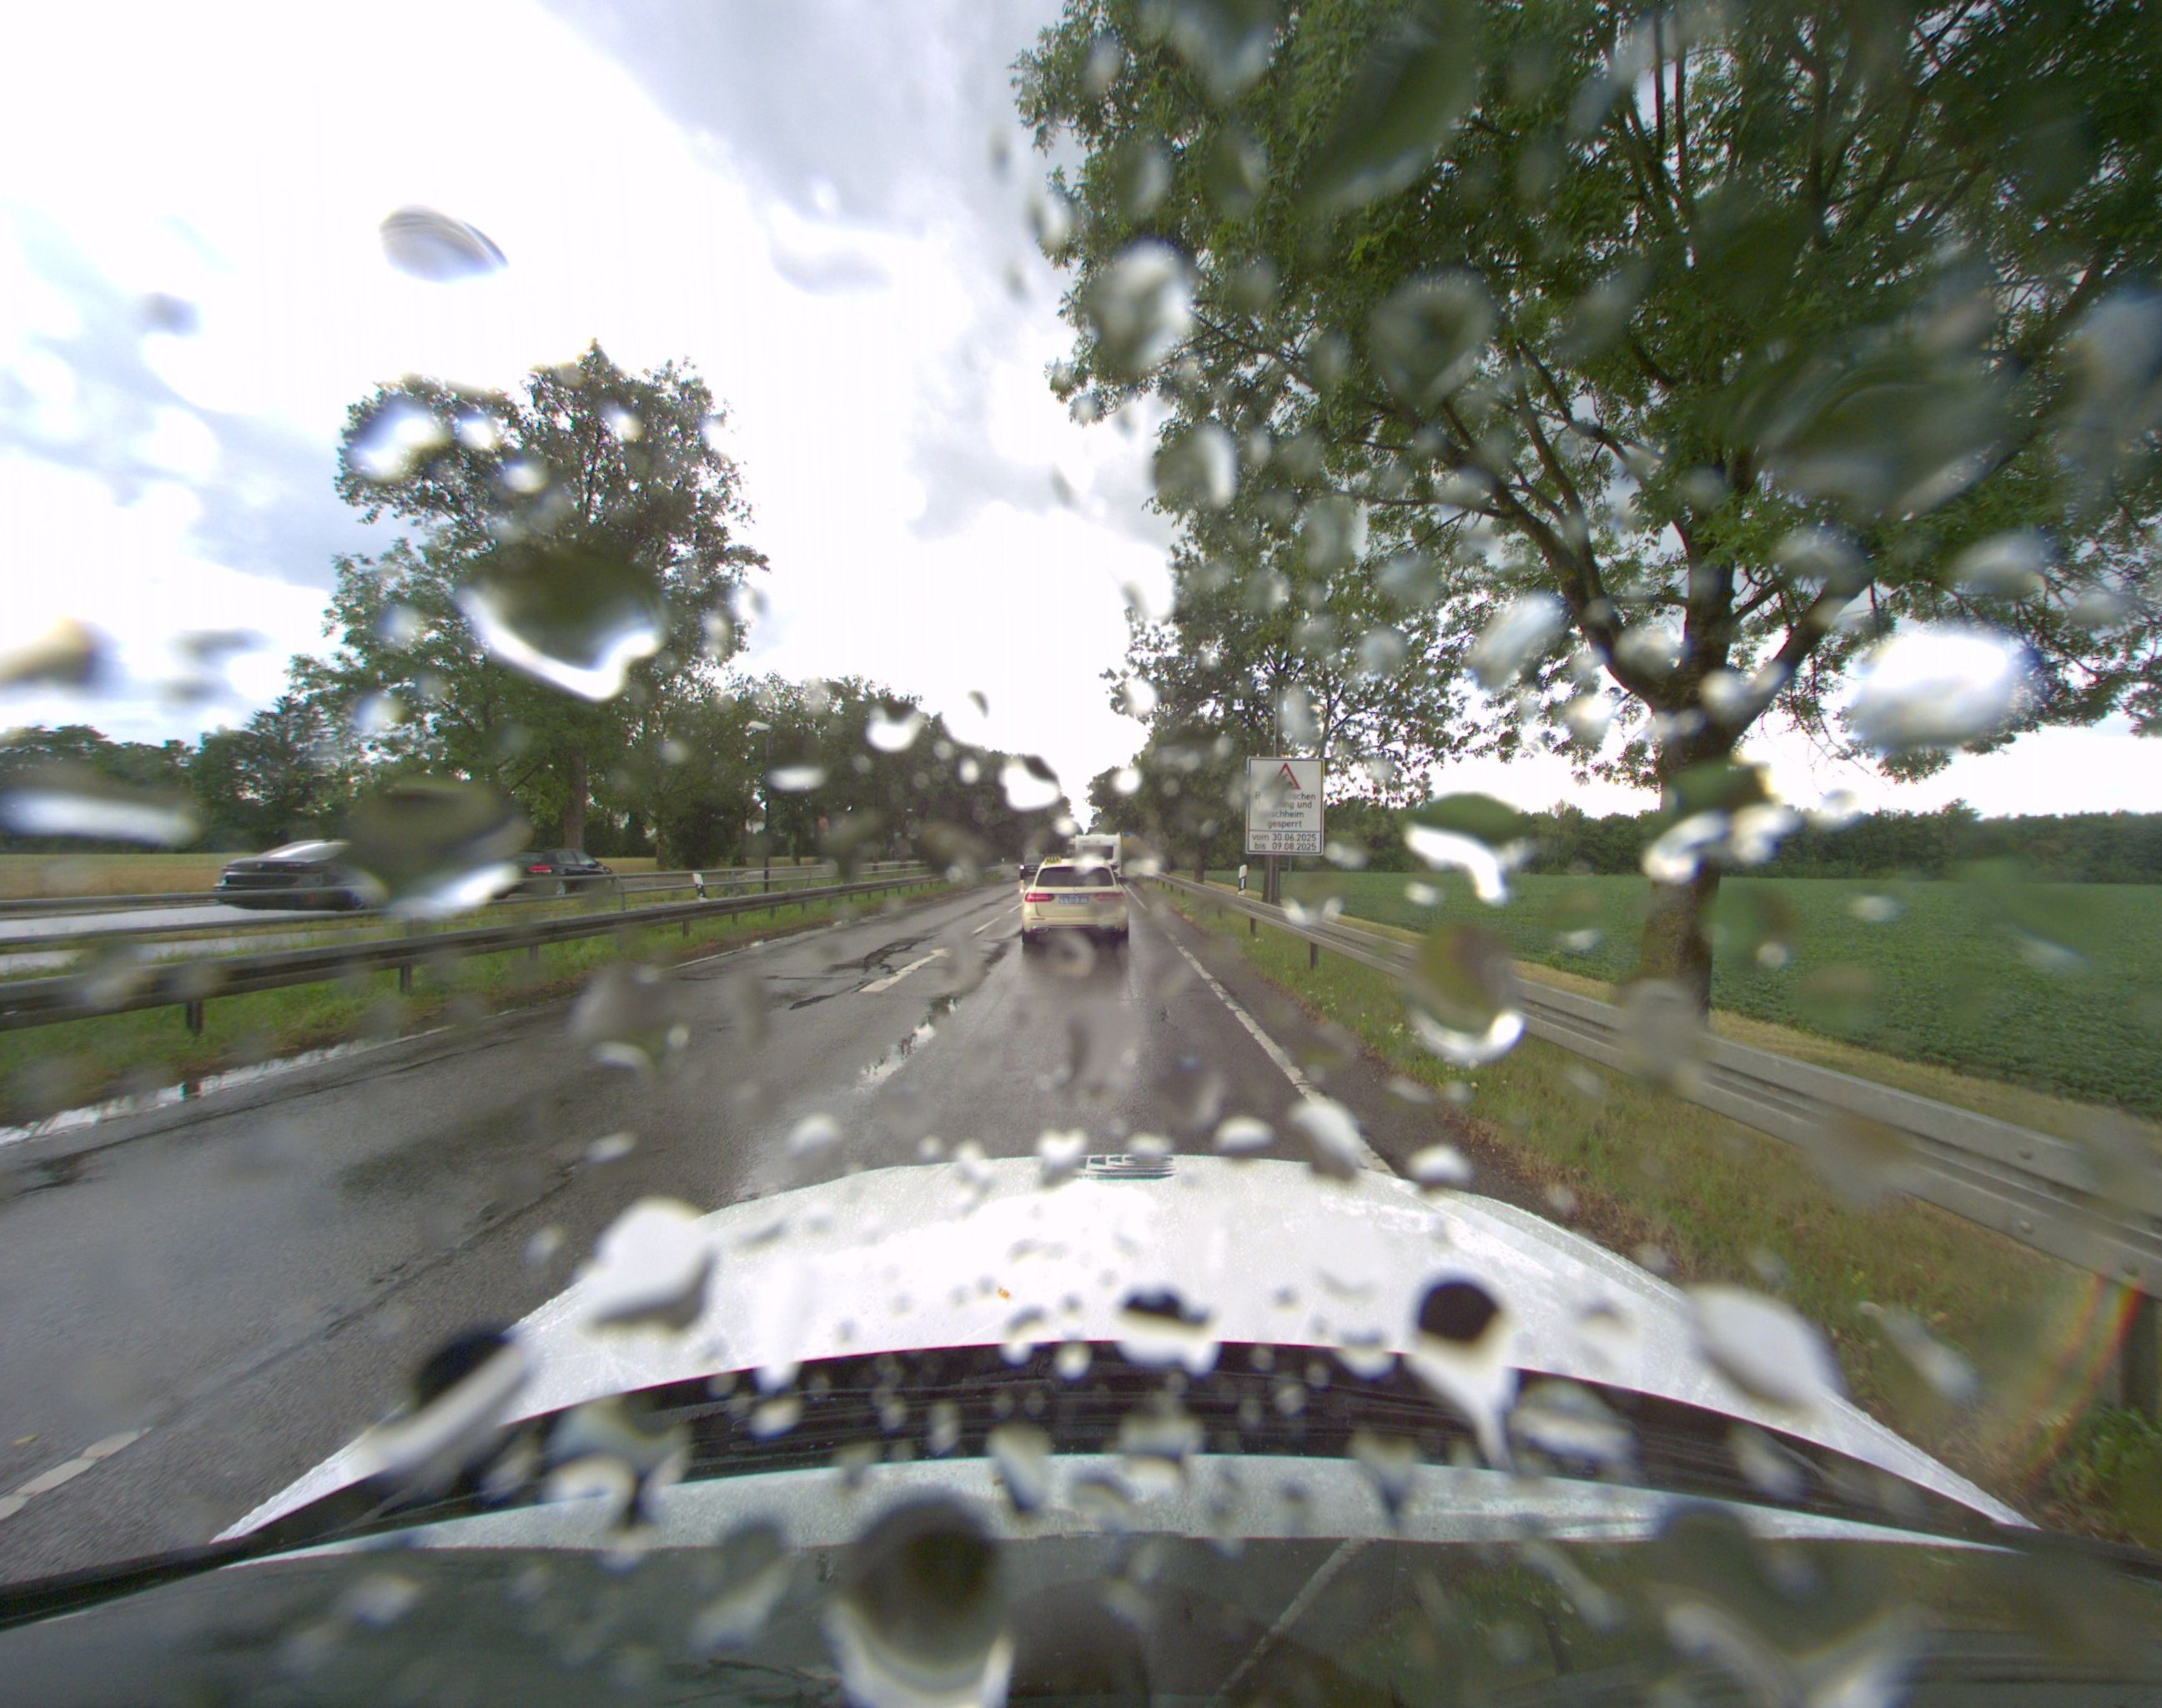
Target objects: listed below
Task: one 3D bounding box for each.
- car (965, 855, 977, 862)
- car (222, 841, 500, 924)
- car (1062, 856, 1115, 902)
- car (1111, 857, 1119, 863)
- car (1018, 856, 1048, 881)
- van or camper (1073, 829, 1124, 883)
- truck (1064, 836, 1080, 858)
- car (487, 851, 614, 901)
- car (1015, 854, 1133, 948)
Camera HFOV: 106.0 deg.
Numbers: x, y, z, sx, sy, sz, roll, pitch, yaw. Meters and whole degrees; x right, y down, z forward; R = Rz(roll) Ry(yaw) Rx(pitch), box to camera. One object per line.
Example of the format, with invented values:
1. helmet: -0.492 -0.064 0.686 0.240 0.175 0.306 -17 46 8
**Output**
1. car: -22.945 0.919 169.830 1.778 1.416 4.002 1 0 2
2. car: -14.846 0.509 17.293 1.512 1.491 5.116 1 0 -3
3. car: 0.325 0.798 27.893 1.657 1.430 4.002 -1 0 2
4. car: 6.222 1.157 148.693 1.545 1.118 4.002 0 -1 2
5. car: -3.333 0.966 57.112 1.758 1.619 4.000 -1 0 1
6. van or camper: 0.979 0.101 43.050 2.480 2.685 5.704 0 0 2
7. truck: -1.449 -1.131 135.623 2.568 3.452 9.555 -1 0 0
8. car: -15.282 0.594 23.682 1.280 1.331 3.894 0 0 -3
9. car: -0.032 0.747 14.977 1.857 1.476 4.002 -1 0 2
